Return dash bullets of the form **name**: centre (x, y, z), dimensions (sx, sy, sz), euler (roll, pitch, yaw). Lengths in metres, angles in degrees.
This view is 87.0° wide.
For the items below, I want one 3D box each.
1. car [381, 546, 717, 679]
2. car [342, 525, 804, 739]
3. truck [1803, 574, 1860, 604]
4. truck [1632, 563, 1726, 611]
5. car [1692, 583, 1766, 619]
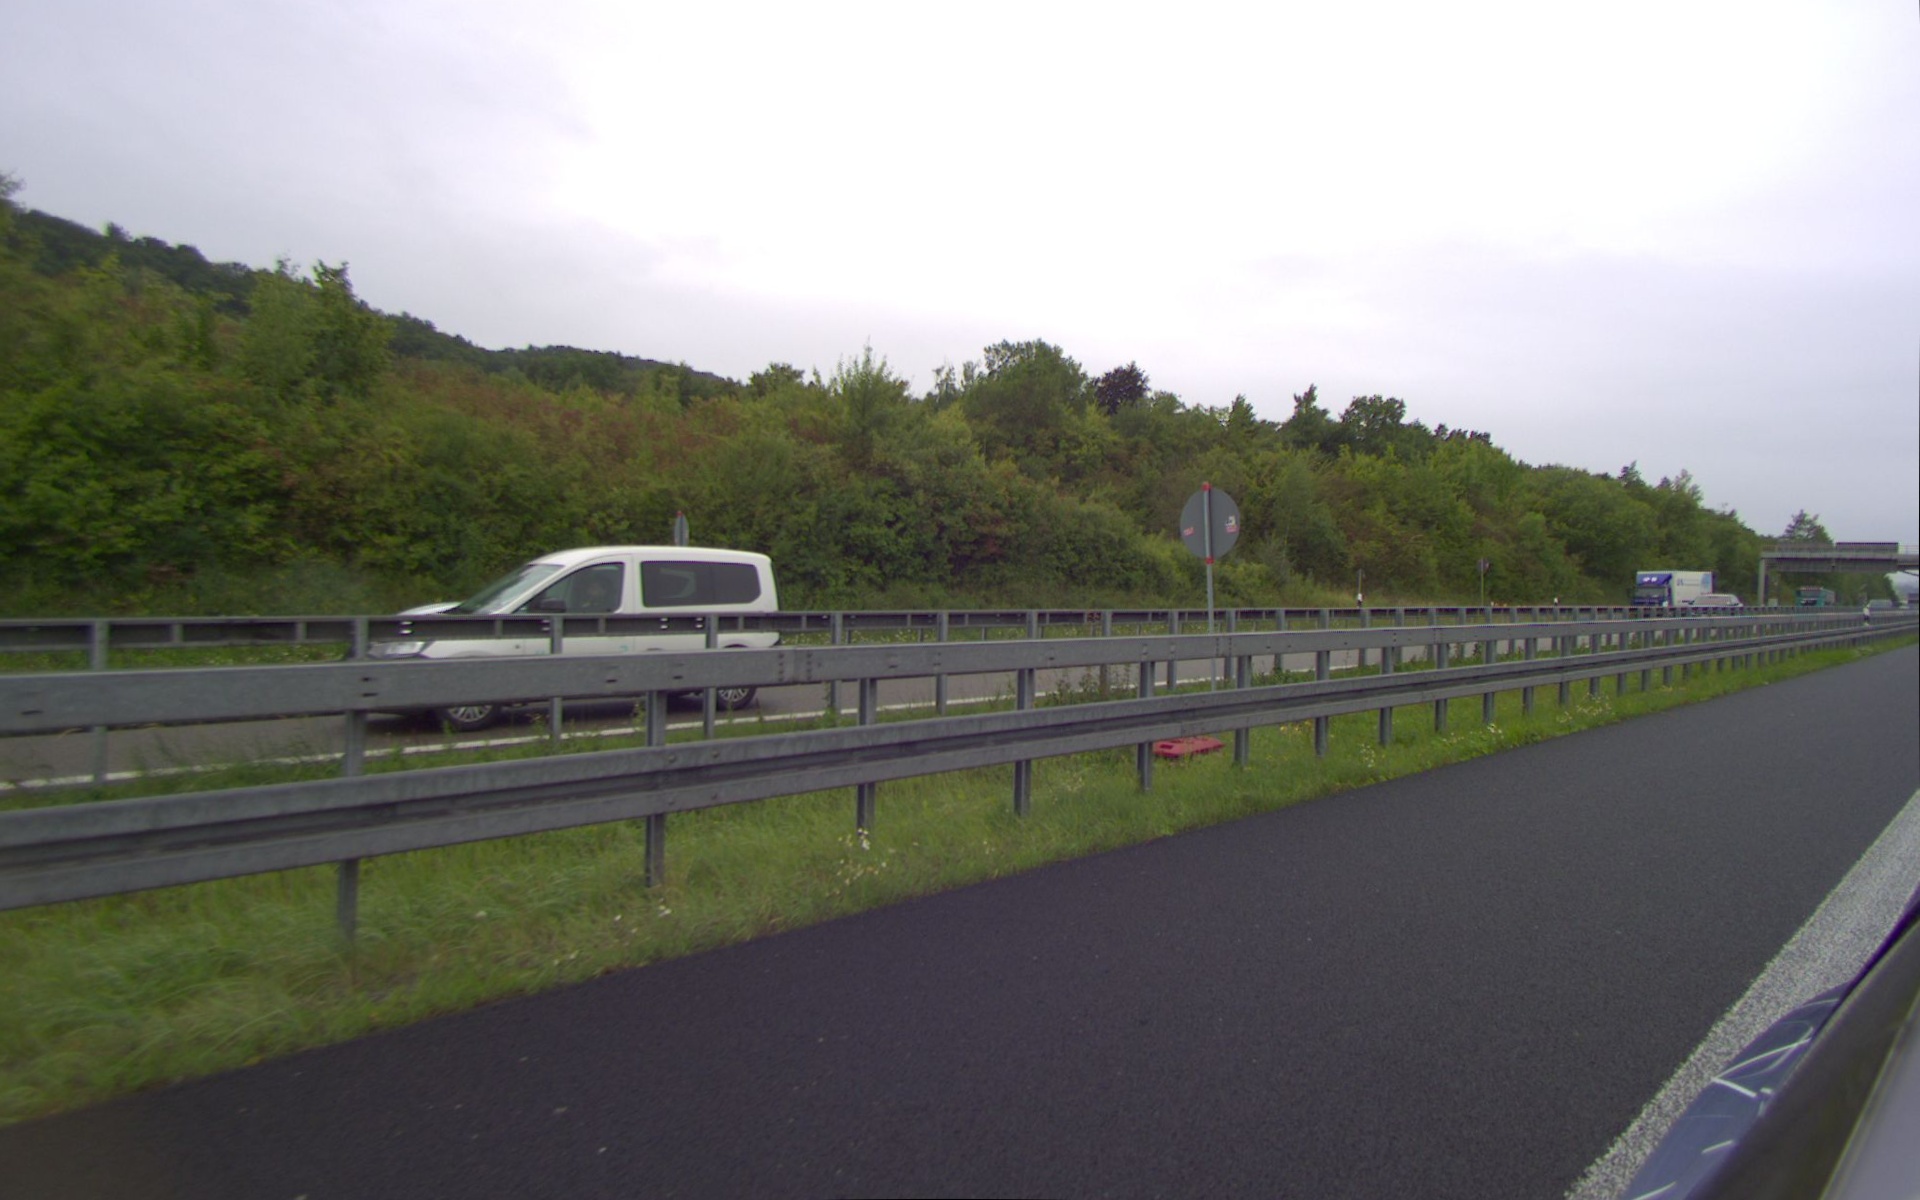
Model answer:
- **car**: centre (-5.766, 0.125, 14.477), dimensions (4.076, 1.633, 1.899), euler (0, 1, -43)
- **car**: centre (-3.994, 0.250, 10.852), dimensions (4.204, 1.837, 2.010), euler (0, 1, -43)
- **truck**: centre (105.327, -1.294, 122.212), dimensions (13.112, 3.460, 2.908), euler (0, 1, -39)
- **truck**: centre (54.860, -0.985, 77.097), dimensions (9.105, 3.460, 2.911), euler (0, 1, -35)
- **car**: centre (37.534, 0.027, 49.353), dimensions (4.394, 1.676, 2.011), euler (0, 1, -41)
